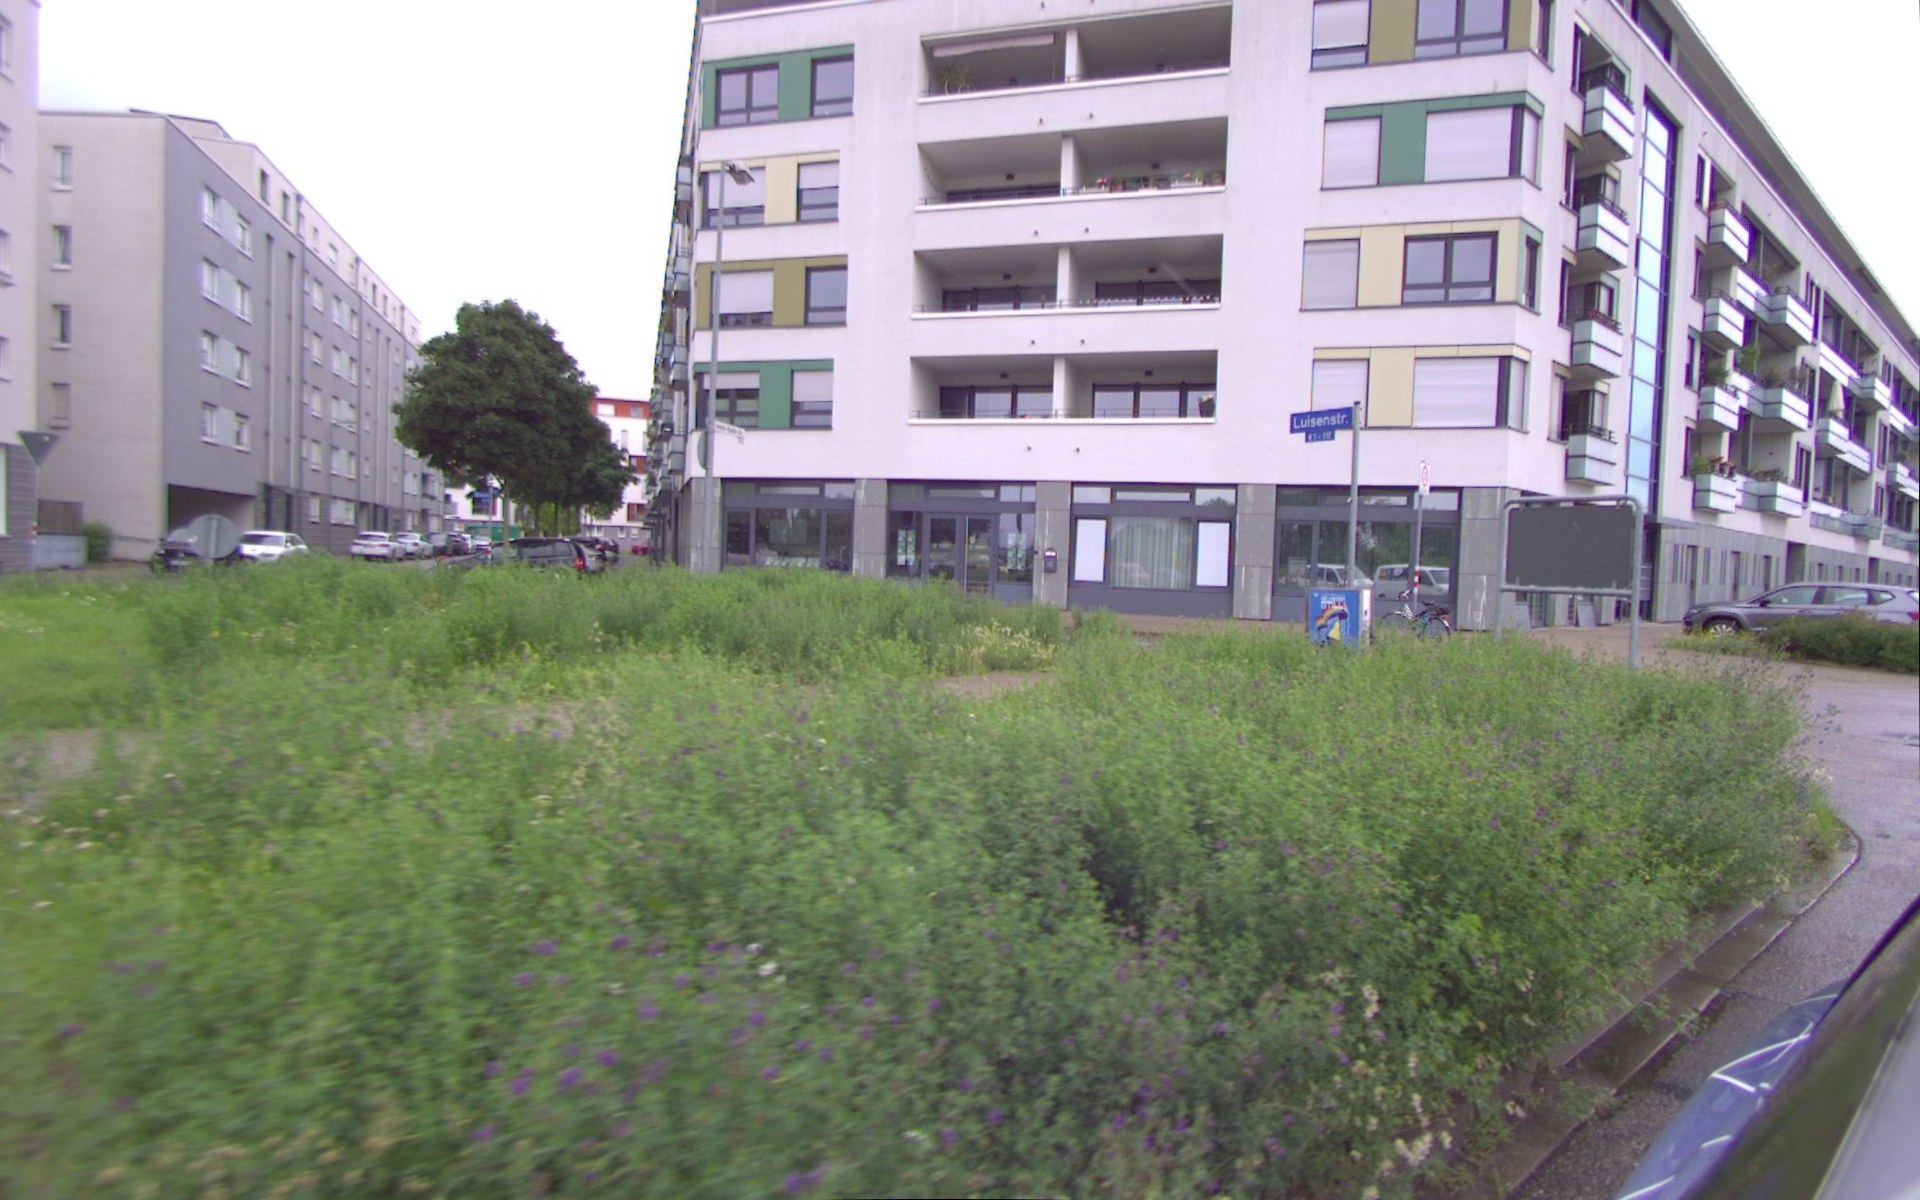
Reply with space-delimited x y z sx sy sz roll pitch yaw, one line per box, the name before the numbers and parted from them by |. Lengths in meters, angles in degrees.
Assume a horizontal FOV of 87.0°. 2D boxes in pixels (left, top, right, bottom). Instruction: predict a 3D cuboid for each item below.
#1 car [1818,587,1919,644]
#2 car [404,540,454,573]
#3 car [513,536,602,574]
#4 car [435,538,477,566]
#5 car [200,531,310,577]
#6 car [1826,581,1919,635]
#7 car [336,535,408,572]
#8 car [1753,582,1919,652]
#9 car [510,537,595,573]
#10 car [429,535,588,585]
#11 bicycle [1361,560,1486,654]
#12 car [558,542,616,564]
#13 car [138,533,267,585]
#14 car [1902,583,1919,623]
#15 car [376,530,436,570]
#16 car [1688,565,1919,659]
car | 27.784 0.493 29.467 1.846 1.497 3.996 0 4 -41
car | -34.715 -2.851 66.306 1.958 2.038 5.480 1 2 -17
car | -20.205 -2.260 50.978 4.016 1.775 1.818 1 2 -17
car | -38.193 -3.603 76.800 2.091 2.038 5.420 1 2 -19
car | -24.303 -1.574 35.080 1.958 1.449 4.476 1 2 -19
car | 29.508 0.286 31.107 2.021 1.514 4.072 0 4 -39
car | -29.719 -2.340 51.290 1.958 1.705 4.432 1 2 -14
car | 22.312 0.421 24.622 1.877 1.421 4.420 0 5 -40
car | -21.432 -2.363 53.430 4.016 1.775 1.818 1 2 -17
car | -14.189 -1.257 32.064 4.428 1.450 1.818 1 2 -17
bicycle | 8.293 0.084 18.232 0.617 1.541 2.200 1 3 -20
car | -28.318 -3.558 76.905 4.016 1.564 1.818 1 2 -17
car | -22.968 -1.252 30.862 1.958 1.432 3.836 1 2 -17
car | 39.594 0.270 39.131 1.860 1.548 4.357 0 5 -40
car | -31.930 -2.857 58.470 1.958 2.123 5.004 1 2 -16
car | 18.412 0.186 21.729 1.932 1.642 4.099 0 5 -41
